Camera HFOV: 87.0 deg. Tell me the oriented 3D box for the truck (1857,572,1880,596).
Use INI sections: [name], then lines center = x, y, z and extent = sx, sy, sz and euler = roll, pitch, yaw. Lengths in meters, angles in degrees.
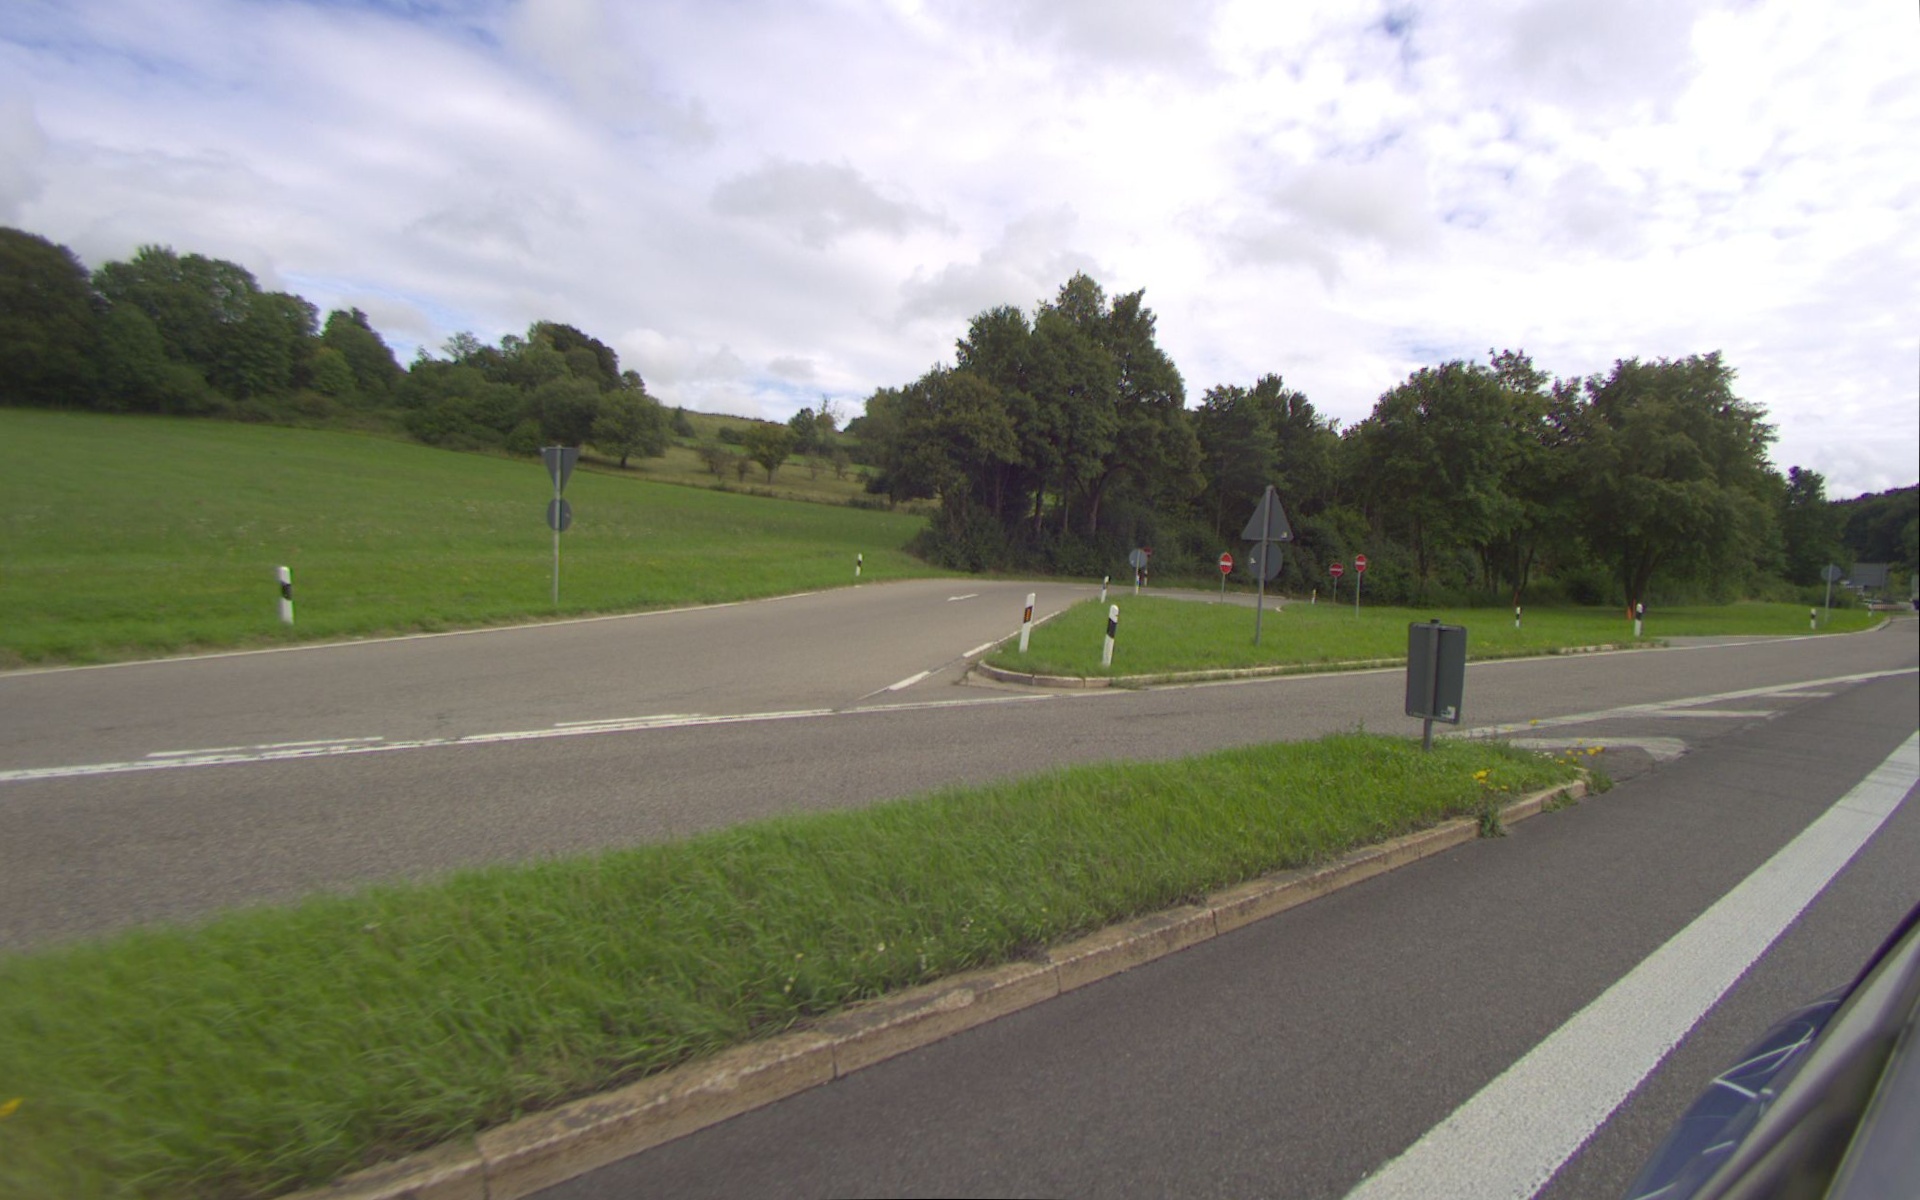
[truck]
center = 157.931, -2.760, 175.978
extent = 2.786, 4.020, 5.853
euler = 2, 3, 41
